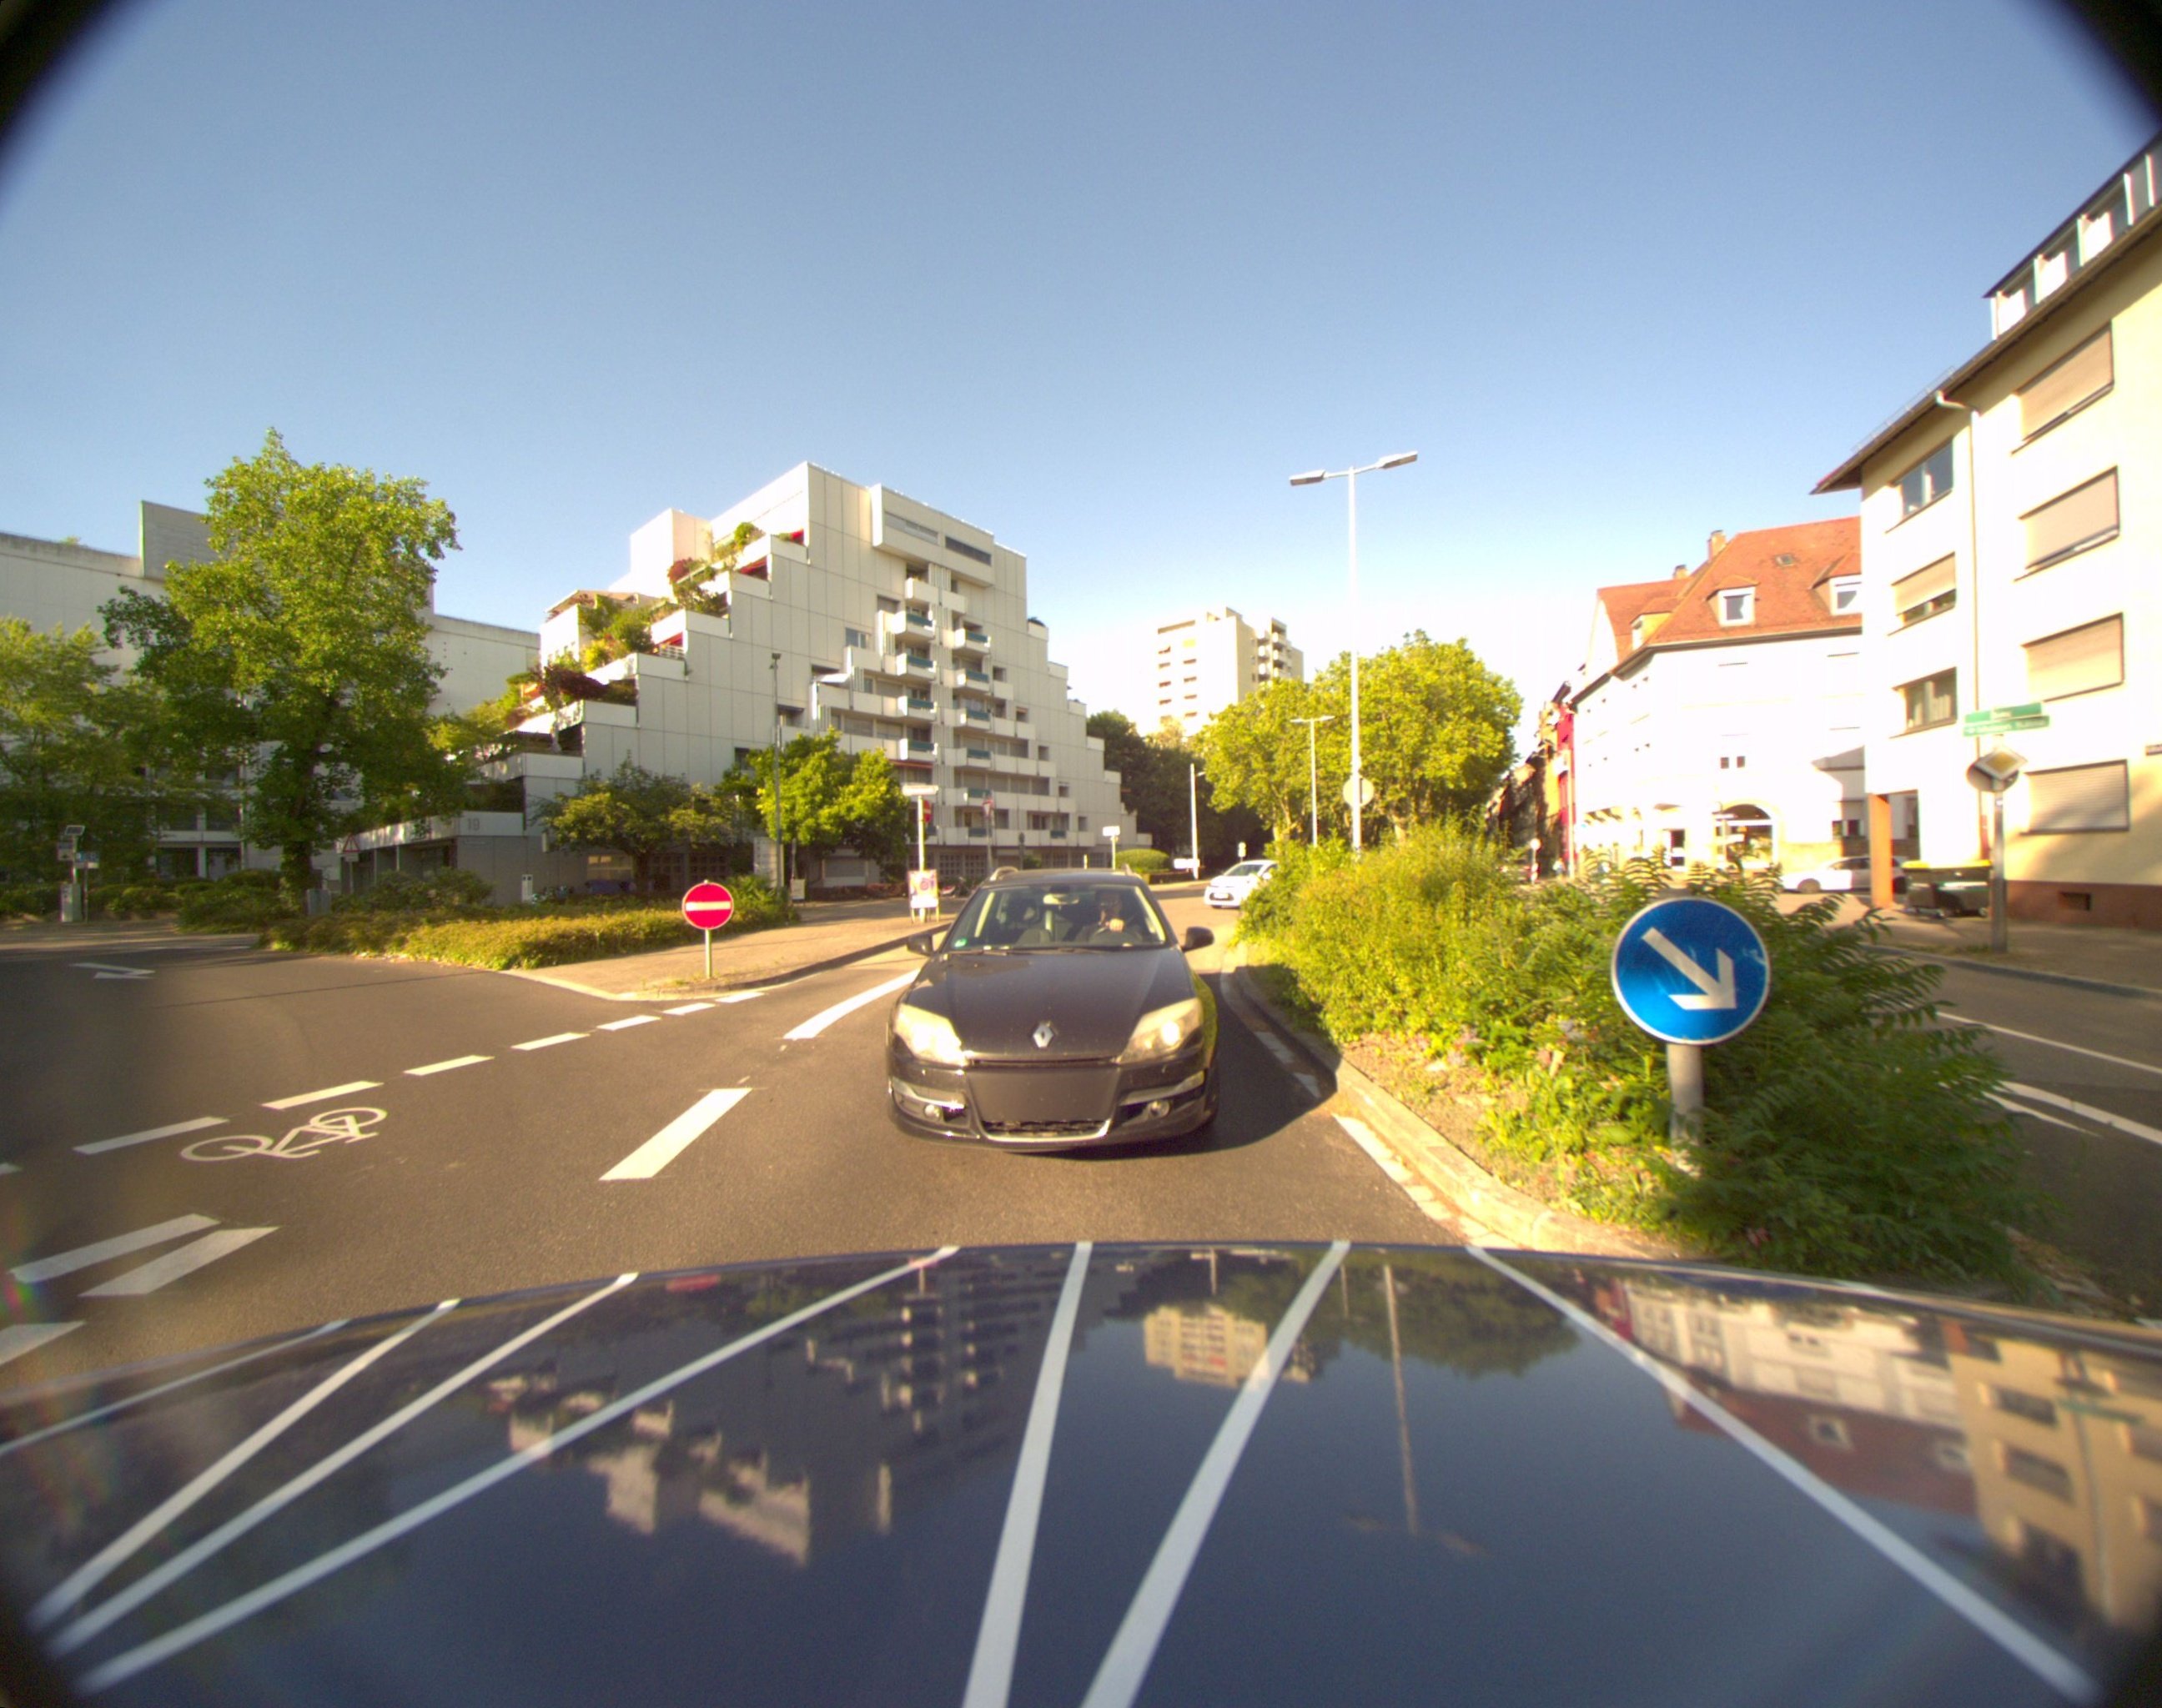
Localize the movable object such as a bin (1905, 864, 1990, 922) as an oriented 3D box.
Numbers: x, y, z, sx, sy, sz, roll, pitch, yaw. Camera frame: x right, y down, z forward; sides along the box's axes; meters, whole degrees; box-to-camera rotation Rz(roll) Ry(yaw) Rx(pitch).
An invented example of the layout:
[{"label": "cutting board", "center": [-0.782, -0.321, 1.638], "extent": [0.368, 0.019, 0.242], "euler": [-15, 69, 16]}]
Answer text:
[{"label": "movable object such as a bin", "center": [20.060, 0.891, 17.622], "extent": [1.032, 1.278, 1.064], "euler": [-1, 0, 31]}]

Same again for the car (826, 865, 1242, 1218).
[{"label": "car", "center": [-0.200, 0.902, 5.756], "extent": [1.844, 1.536, 4.525], "euler": [-3, -1, 0]}]

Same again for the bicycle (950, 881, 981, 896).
[{"label": "bicycle", "center": [-6.180, 1.835, 40.621], "extent": [1.575, 0.780, 0.464], "euler": [-1, 0, -3]}]

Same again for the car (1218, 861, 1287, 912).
[{"label": "car", "center": [5.400, 0.963, 23.634], "extent": [1.651, 1.445, 3.540], "euler": [-1, 0, 20]}]

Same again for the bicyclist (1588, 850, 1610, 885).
[{"label": "bicyclist", "center": [23.219, 0.598, 34.041], "extent": [0.749, 1.544, 0.631], "euler": [-1, 0, 30]}]

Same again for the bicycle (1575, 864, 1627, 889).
[{"label": "bicycle", "center": [23.256, 1.015, 34.025], "extent": [1.865, 1.083, 0.629], "euler": [-1, 0, 29]}]

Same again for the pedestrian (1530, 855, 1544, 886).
[{"label": "pedestrian", "center": [25.705, 0.917, 42.829], "extent": [0.672, 1.701, 0.714], "euler": [-1, 0, 30]}]

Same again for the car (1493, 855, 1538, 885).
[{"label": "car", "center": [27.300, 0.963, 47.850], "extent": [1.895, 1.782, 4.006], "euler": [-1, 0, 21]}]

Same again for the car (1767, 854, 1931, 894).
[{"label": "car", "center": [30.042, 0.774, 29.913], "extent": [4.194, 1.502, 1.805], "euler": [-1, 0, 31]}]
